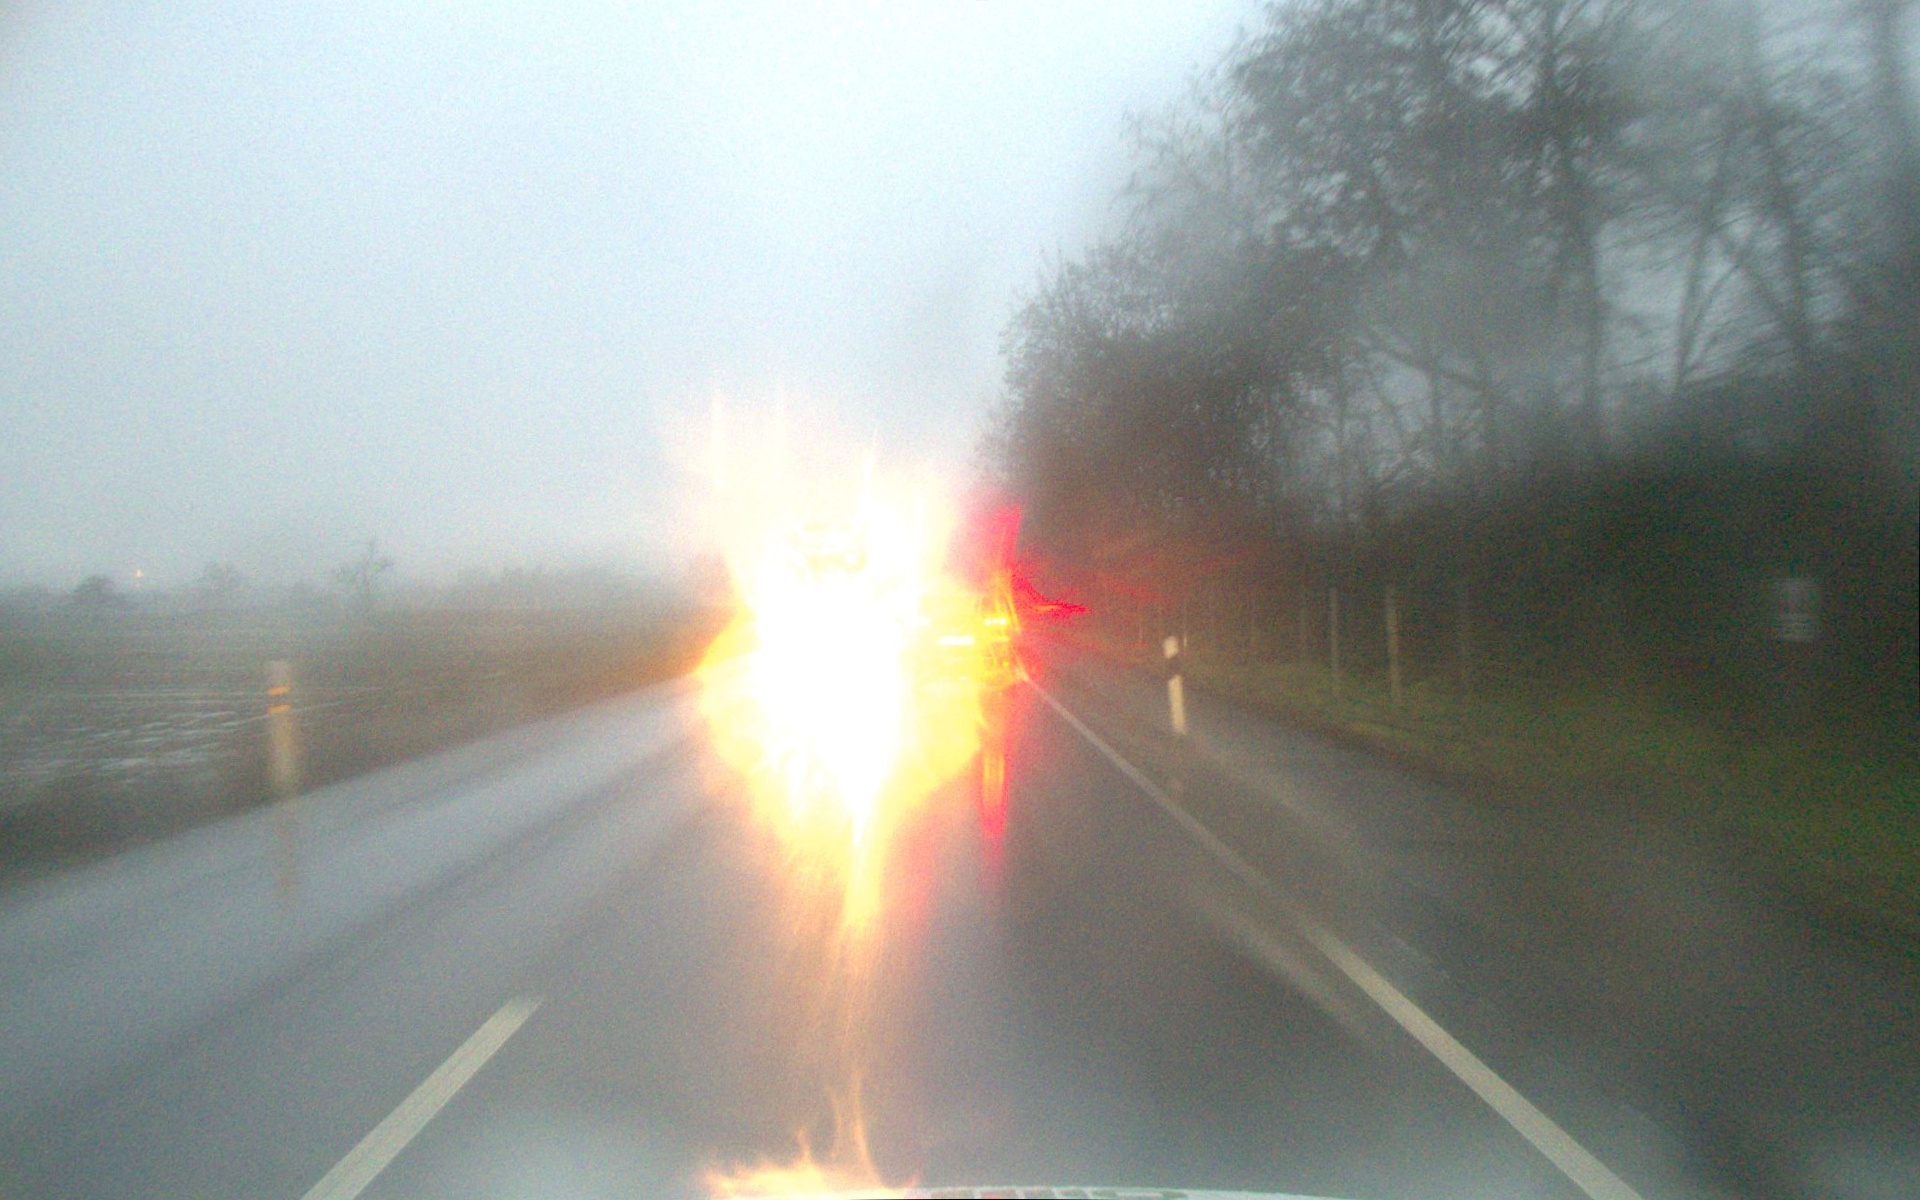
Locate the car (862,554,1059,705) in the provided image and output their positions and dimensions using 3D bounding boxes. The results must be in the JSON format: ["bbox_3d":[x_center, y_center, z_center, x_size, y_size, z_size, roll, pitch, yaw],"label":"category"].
[{"bbox_3d":[-0.017,0.426,26.239,2.763,2.113,5.803,1,0,0],"label":"car"}]

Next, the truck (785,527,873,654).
[{"bbox_3d":[-4.545,-0.343,58.610,2.670,4.177,6.586,-1,0,-1],"label":"truck"}]

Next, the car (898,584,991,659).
[{"bbox_3d":[-0.449,0.608,48.415,2.539,2.049,5.803,1,0,0],"label":"car"}]

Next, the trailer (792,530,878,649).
[{"bbox_3d":[-4.707,-0.399,64.402,2.647,4.151,12.377,-1,0,-1],"label":"trailer"}]
